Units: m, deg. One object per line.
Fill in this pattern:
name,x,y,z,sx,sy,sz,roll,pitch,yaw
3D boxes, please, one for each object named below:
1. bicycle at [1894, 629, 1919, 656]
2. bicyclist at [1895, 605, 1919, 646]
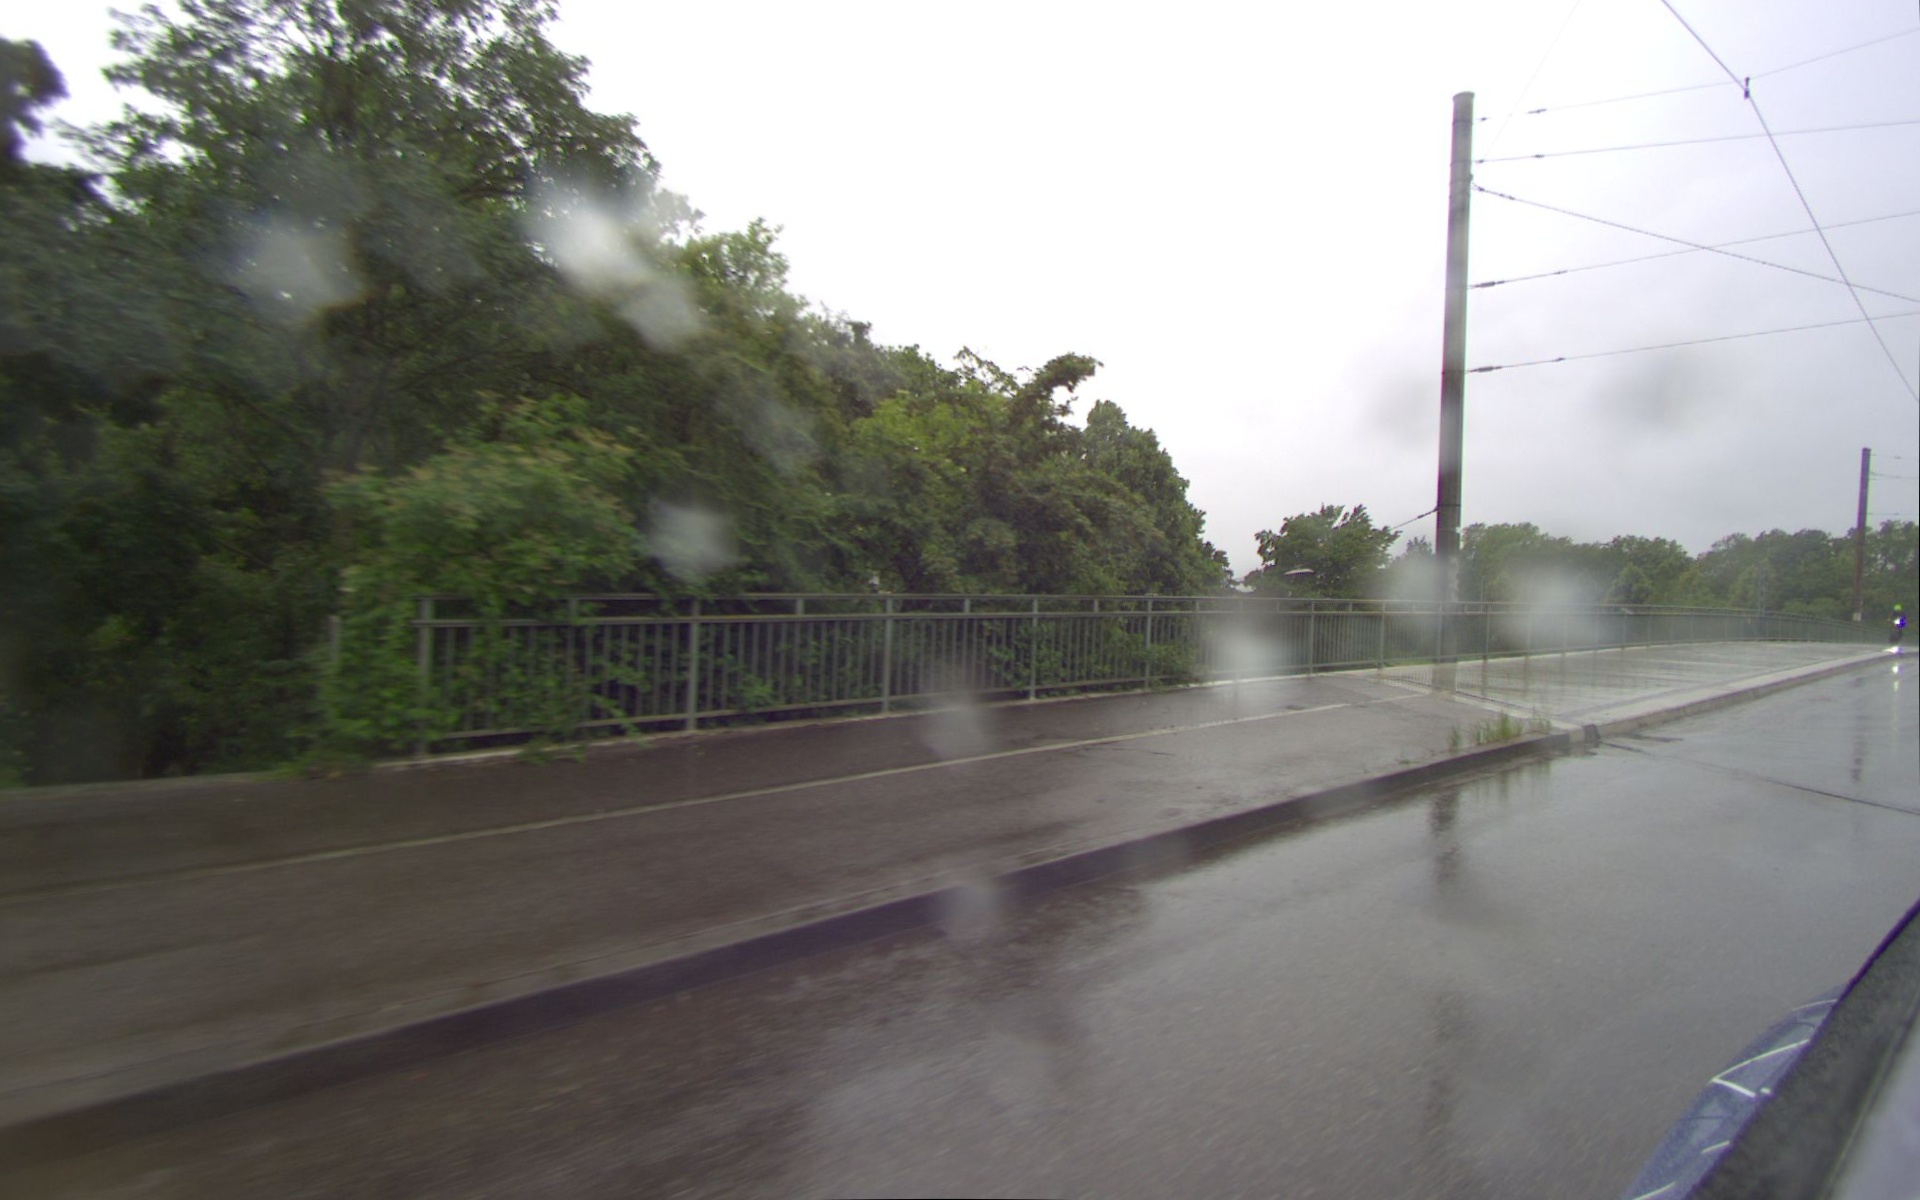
bicycle,42.212,1.914,45.059,2.130,1.143,0.724,3,-2,-42
bicyclist,42.217,1.131,45.077,0.932,1.786,0.726,2,-2,-41
